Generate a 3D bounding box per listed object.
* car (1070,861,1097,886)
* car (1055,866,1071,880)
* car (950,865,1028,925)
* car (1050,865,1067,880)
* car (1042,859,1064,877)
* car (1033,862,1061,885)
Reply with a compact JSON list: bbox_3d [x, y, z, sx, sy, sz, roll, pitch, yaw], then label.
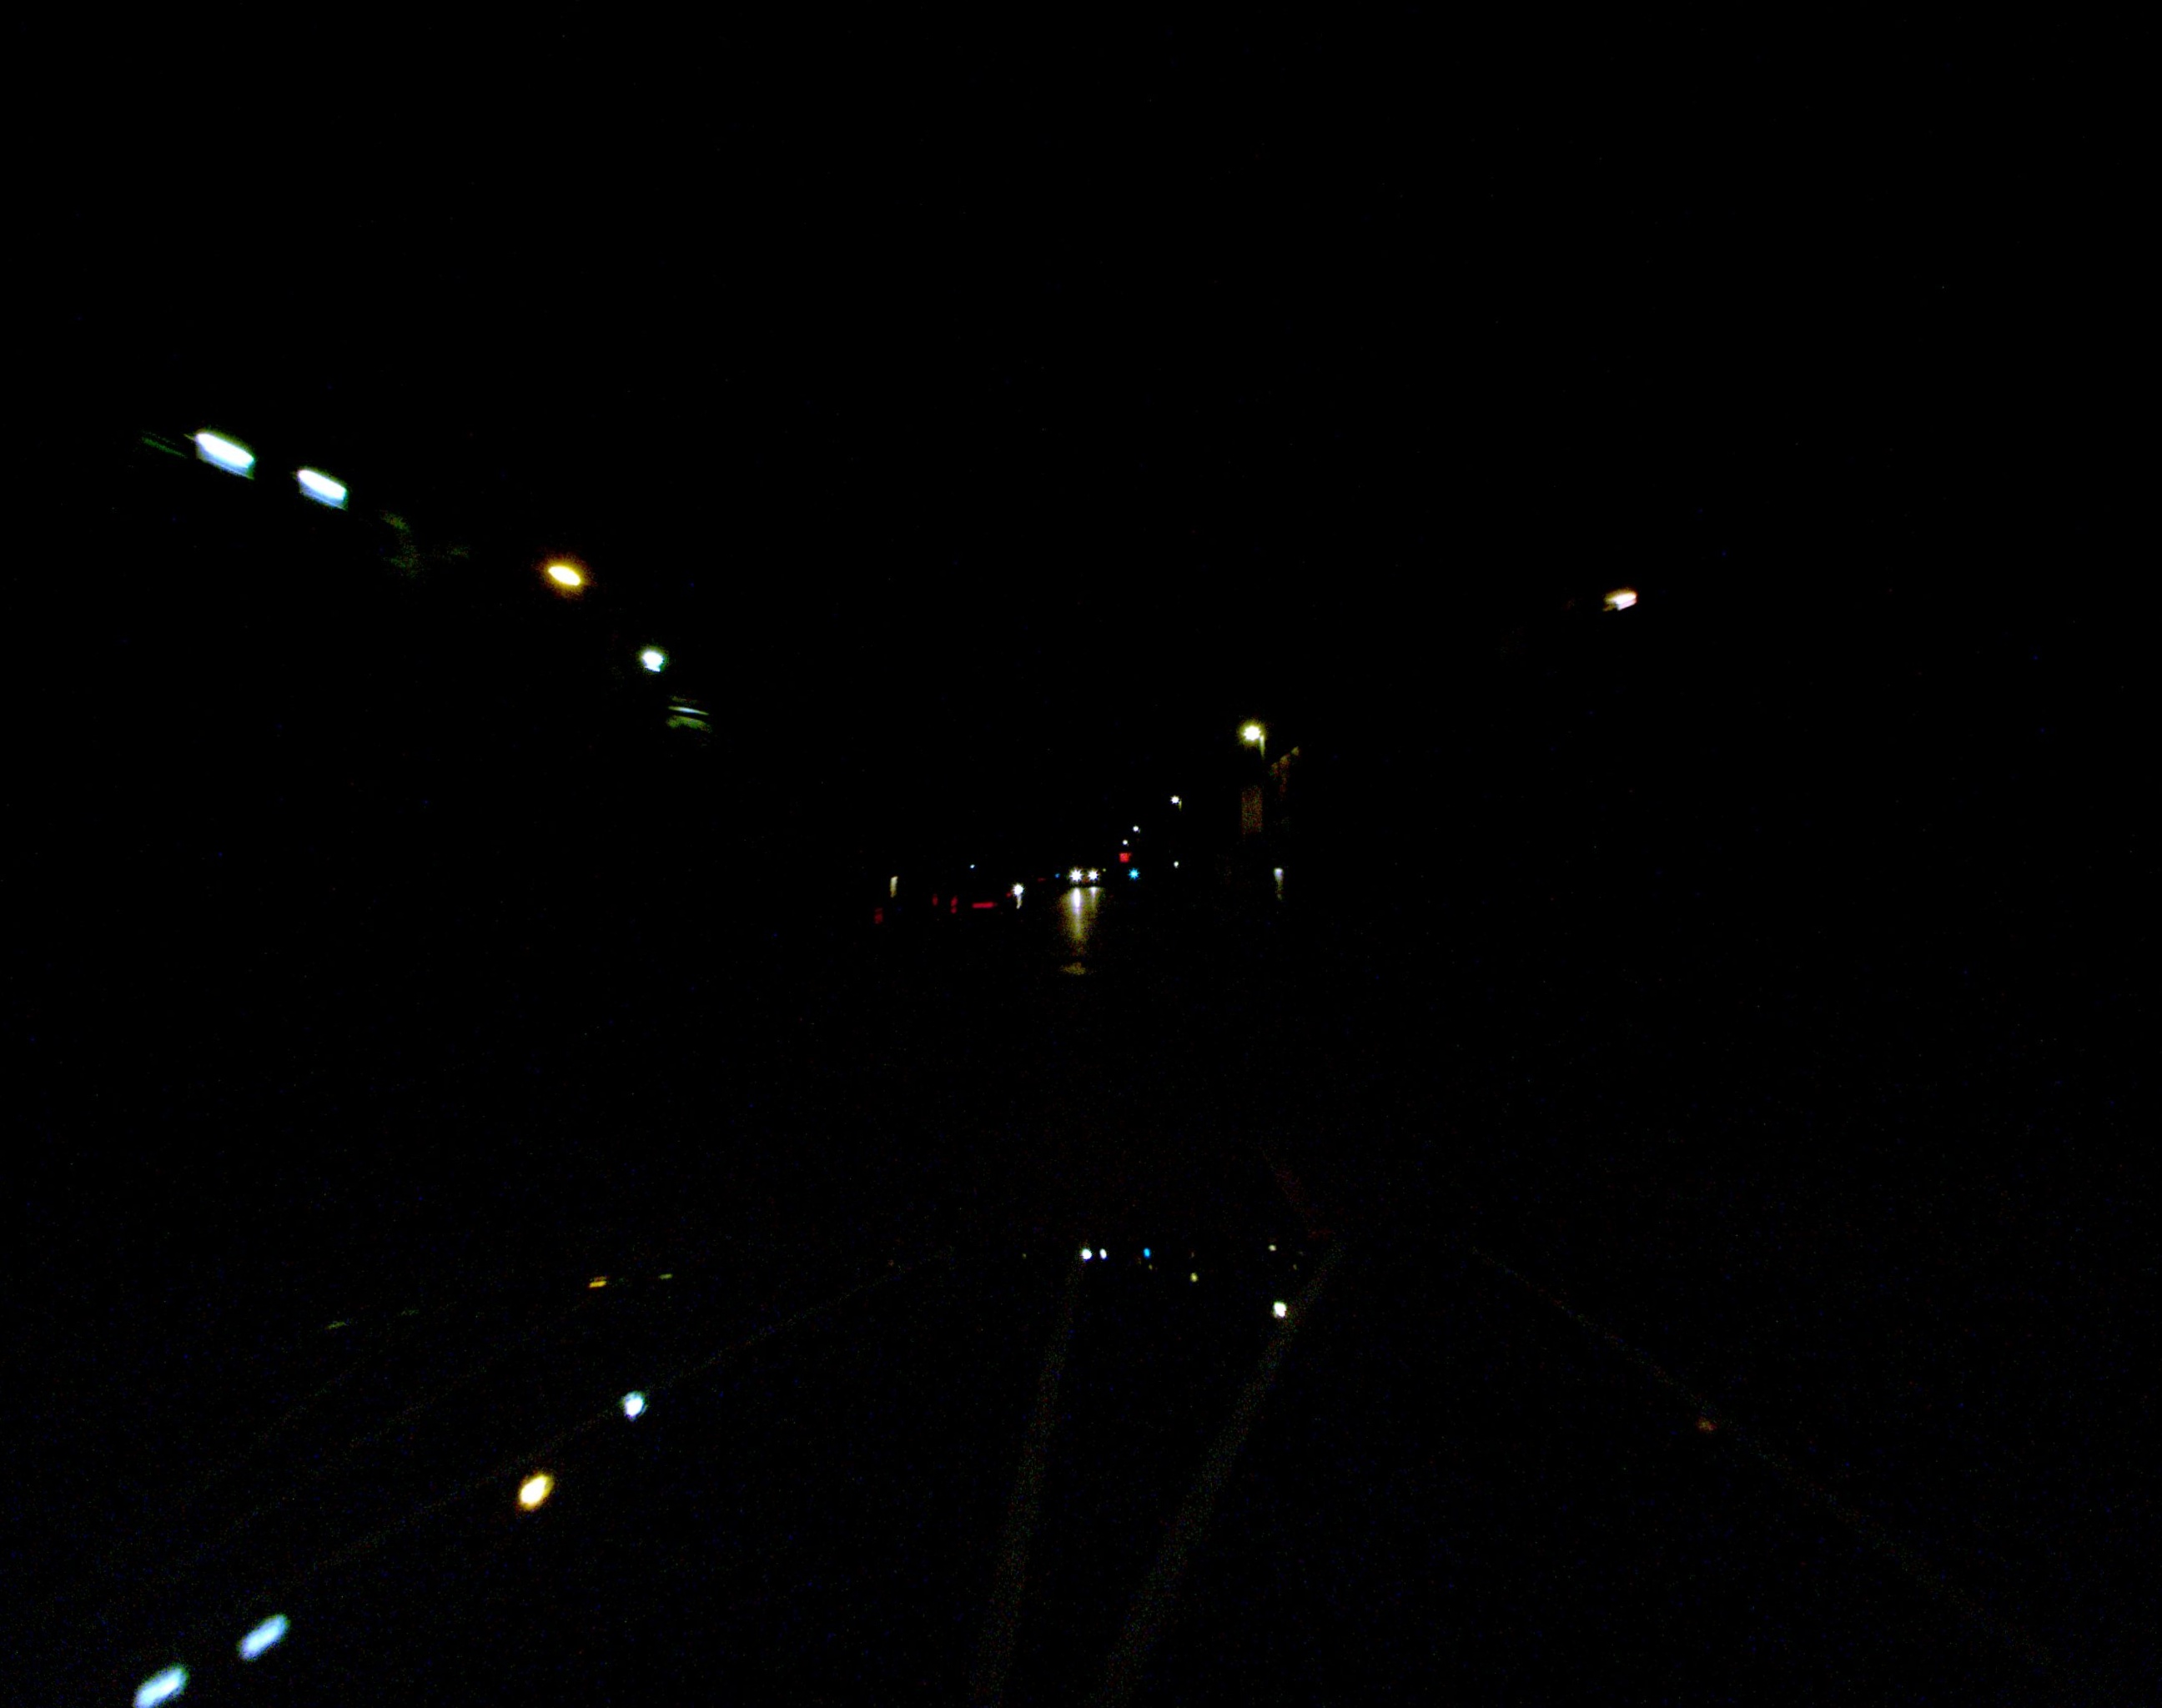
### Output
[{"bbox_3d":[0.141,1.222,49.522,1.627,1.495,3.550,-2,0,-1],"label":"car"},{"bbox_3d":[-1.958,2.095,84.976,1.702,1.447,3.714,-2,0,-1],"label":"car"},{"bbox_3d":[-2.508,1.089,21.483,1.702,1.447,3.714,-2,0,-1],"label":"car"},{"bbox_3d":[-2.345,1.916,80.686,1.702,1.447,3.714,-2,0,-1],"label":"car"},{"bbox_3d":[-2.316,1.167,64.475,1.702,1.447,3.714,-2,0,-1],"label":"car"},{"bbox_3d":[-2.295,1.311,51.438,1.702,1.447,3.714,-2,0,-1],"label":"car"}]
